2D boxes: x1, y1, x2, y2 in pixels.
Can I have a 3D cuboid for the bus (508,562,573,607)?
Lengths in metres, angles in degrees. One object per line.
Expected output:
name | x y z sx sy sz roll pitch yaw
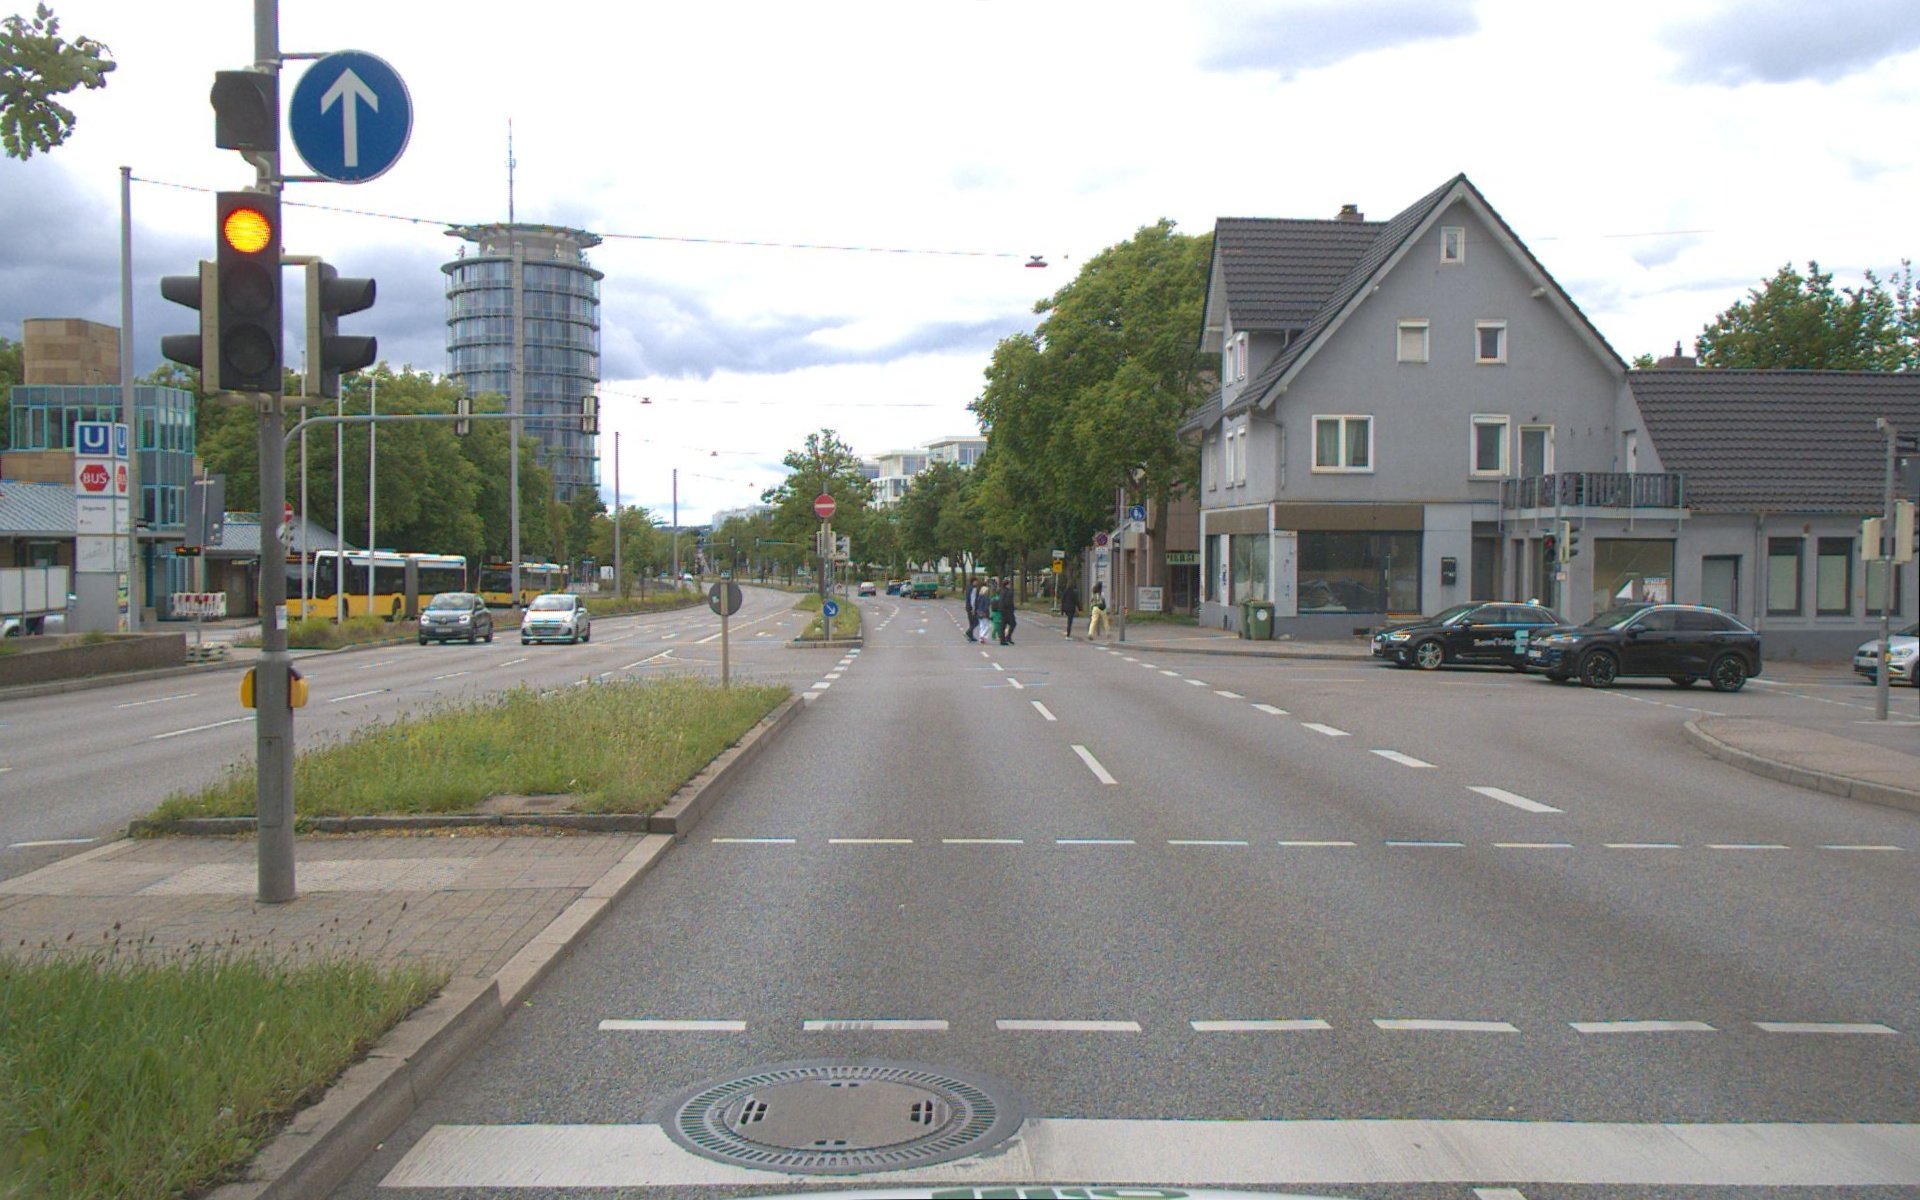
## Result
bus | -31.145 -1.129 123.010 3.081 3.281 7.762 0 0 -2

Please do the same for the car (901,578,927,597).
car | -4.394 -1.221 158.047 2.207 1.787 4.927 0 0 -5

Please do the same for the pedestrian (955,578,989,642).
pedestrian | 0.348 0.284 47.063 0.851 1.811 0.706 0 0 -10

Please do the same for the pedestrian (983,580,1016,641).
pedestrian | 1.172 0.314 49.239 0.851 1.811 0.706 0 0 -10

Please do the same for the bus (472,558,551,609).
bus | -30.783 -1.113 114.011 3.082 3.281 10.279 0 0 -3

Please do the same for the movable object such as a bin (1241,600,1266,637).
movable object such as a bin | 7.970 0.489 44.952 0.518 0.997 0.736 0 0 -1

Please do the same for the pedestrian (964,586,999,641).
pedestrian | 0.599 0.370 46.298 0.851 1.533 0.706 0 0 -10

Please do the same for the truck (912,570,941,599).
truck | -2.957 -1.332 145.858 2.207 2.459 4.927 0 0 -5

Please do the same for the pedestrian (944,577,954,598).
pedestrian | -1.263 -1.418 185.619 0.914 2.349 1.008 1 -1 -10

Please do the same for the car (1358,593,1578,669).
car | 10.596 0.626 34.685 4.006 1.521 1.893 0 0 -6

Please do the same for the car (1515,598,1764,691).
car | 12.874 0.829 31.443 3.983 1.547 1.837 3 0 -9

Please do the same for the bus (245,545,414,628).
bus | -27.081 -0.556 71.693 2.927 3.307 10.174 -1 0 3

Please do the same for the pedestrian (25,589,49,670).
pedestrian | -18.691 0.587 33.505 0.414 1.619 0.353 0 0 -30

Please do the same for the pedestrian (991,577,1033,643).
pedestrian | 1.418 0.271 45.173 1.030 1.791 0.706 0 0 -10

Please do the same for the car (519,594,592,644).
car | -12.362 0.553 50.725 1.651 1.488 3.552 0 0 -5

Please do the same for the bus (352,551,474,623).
bus | -26.543 -0.609 80.717 2.927 3.327 7.879 -1 0 3

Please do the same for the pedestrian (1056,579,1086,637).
pedestrian | 3.287 0.243 48.935 0.690 1.691 0.870 0 0 20

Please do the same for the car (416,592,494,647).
car | -15.471 0.568 50.813 1.652 1.606 3.344 0 0 -6

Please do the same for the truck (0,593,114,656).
truck | -23.851 0.600 42.742 1.953 1.544 3.999 0 0 -1

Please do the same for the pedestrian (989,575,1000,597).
pedestrian | 3.195 -1.276 155.068 0.951 2.049 0.981 1 -1 -2

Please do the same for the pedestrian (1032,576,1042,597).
pedestrian | 5.673 -1.003 122.152 0.638 1.597 0.669 0 0 -9

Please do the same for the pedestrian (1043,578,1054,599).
pedestrian | 6.528 -0.857 122.133 0.638 1.597 0.669 0 0 -9

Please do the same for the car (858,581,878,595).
car | -9.487 -1.251 170.637 1.929 1.444 4.017 0 0 -6

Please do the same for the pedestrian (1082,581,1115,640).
pedestrian | 4.042 0.306 48.205 0.691 1.691 0.869 0 0 26

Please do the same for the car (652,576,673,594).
car | -35.906 -1.828 199.742 1.925 2.049 3.999 1 0 -1

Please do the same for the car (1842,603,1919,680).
car | 21.210 0.902 35.085 4.017 1.567 1.828 2 0 -1

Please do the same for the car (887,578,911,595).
car | -6.370 -1.387 172.794 2.207 1.676 4.927 0 0 -6

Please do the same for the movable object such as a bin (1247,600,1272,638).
movable object such as a bin | 8.000 0.497 44.162 0.518 0.997 0.736 0 0 -1
